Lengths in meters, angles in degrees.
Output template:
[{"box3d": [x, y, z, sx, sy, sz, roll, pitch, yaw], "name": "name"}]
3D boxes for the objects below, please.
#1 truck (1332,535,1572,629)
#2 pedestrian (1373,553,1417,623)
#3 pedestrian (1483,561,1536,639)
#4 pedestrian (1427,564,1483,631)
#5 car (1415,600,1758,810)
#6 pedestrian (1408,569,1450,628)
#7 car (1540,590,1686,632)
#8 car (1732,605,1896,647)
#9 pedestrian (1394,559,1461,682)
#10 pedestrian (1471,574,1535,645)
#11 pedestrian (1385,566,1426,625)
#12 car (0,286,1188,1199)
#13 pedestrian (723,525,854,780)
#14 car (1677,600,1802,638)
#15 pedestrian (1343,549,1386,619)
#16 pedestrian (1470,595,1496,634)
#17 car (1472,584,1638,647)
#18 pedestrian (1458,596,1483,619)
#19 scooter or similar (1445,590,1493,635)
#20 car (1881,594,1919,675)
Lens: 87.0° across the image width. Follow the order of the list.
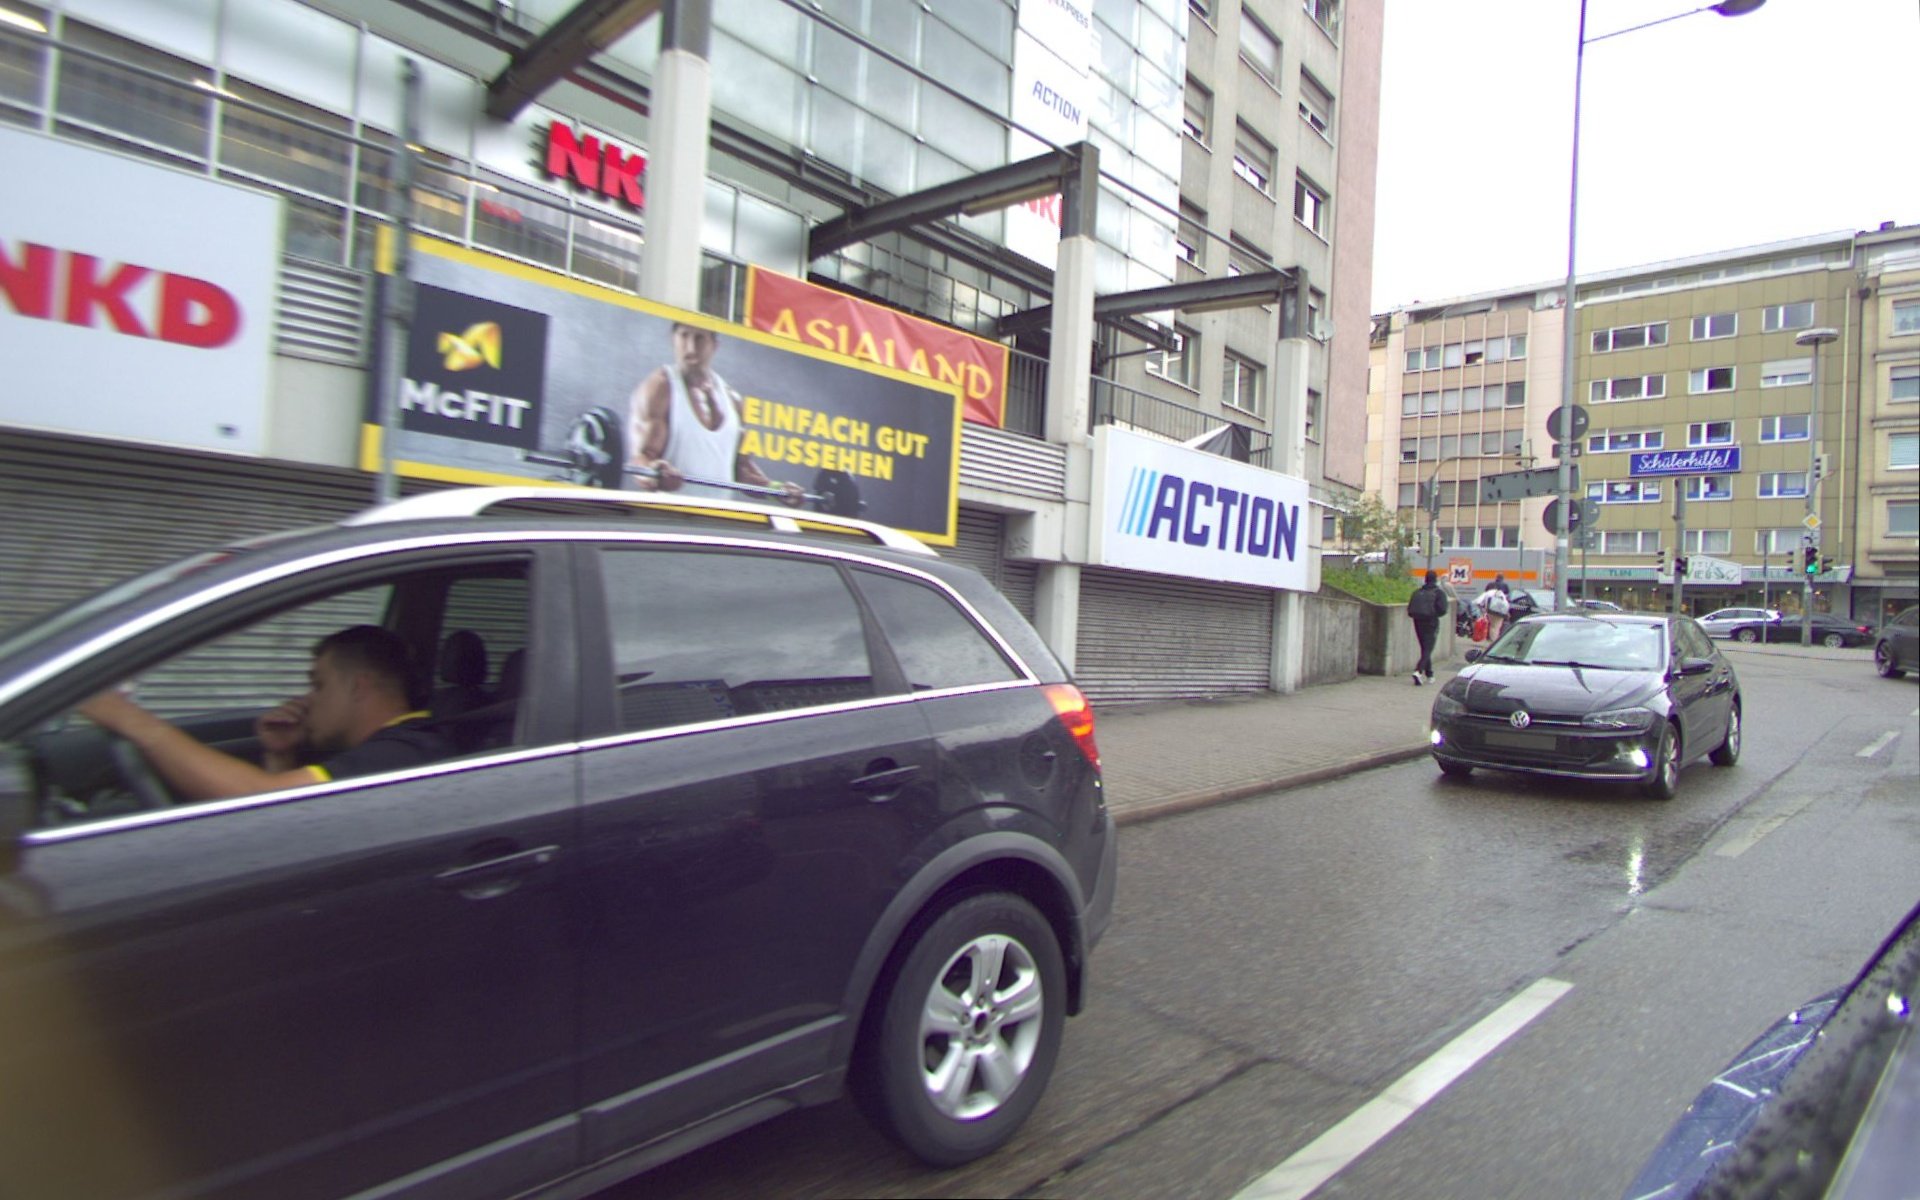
[{"box3d": [25.113, -1.038, 52.329, 2.808, 4.387, 10.746, 2, 1, -44], "name": "truck"}, {"box3d": [12.422, -0.343, 28.905, 0.824, 1.887, 0.658, 7, 1, -42], "name": "pedestrian"}, {"box3d": [14.307, -0.010, 26.375, 0.605, 1.889, 0.789, 7, 2, -30], "name": "pedestrian"}, {"box3d": [13.494, -0.070, 27.587, 1.018, 1.744, 0.839, 5, -1, -29], "name": "pedestrian"}, {"box3d": [5.740, 0.739, 9.086, 3.816, 1.449, 1.739, 0, 0, -44], "name": "car"}, {"box3d": [14.018, -0.045, 30.268, 0.836, 1.656, 0.532, 8, 0, 44], "name": "pedestrian"}, {"box3d": [26.011, 0.404, 40.409, 4.617, 1.433, 1.769, 3, 0, 44], "name": "car"}, {"box3d": [33.975, 0.994, 40.370, 1.961, 1.443, 4.635, 2, 0, -34], "name": "car"}, {"box3d": [7.381, 0.316, 15.966, 0.599, 1.863, 0.996, 3, 0, 44], "name": "pedestrian"}, {"box3d": [12.794, 0.193, 23.876, 1.045, 1.550, 1.021, 5, 3, 18], "name": "pedestrian"}, {"box3d": [13.411, -0.144, 30.488, 0.731, 1.654, 0.597, 7, 1, -5], "name": "pedestrian"}, {"box3d": [-1.490, 0.470, 2.484, 4.228, 1.808, 1.910, 2, 0, -43], "name": "car"}, {"box3d": [-1.270, 0.347, 7.434, 0.606, 1.744, 0.838, 1, 1, -35], "name": "pedestrian"}, {"box3d": [35.965, 0.846, 46.760, 4.386, 1.570, 1.824, 2, 1, 44], "name": "car"}, {"box3d": [11.687, -0.461, 29.244, 0.805, 1.955, 0.732, 4, 0, -38], "name": "pedestrian"}, {"box3d": [14.108, 0.389, 27.280, 0.256, 1.012, 0.473, 8, -2, -23], "name": "pedestrian"}, {"box3d": [16.479, 0.369, 28.283, 1.835, 1.566, 4.109, 2, 1, -7], "name": "car"}, {"box3d": [14.052, 0.210, 27.846, 0.364, 0.578, 0.459, 5, -1, -27], "name": "pedestrian"}, {"box3d": [14.016, 0.335, 27.862, 0.953, 1.123, 0.656, 5, -1, -27], "name": "scooter or similar"}, {"box3d": [18.654, 0.692, 18.084, 1.981, 1.510, 4.689, 3, 1, 27], "name": "car"}]
